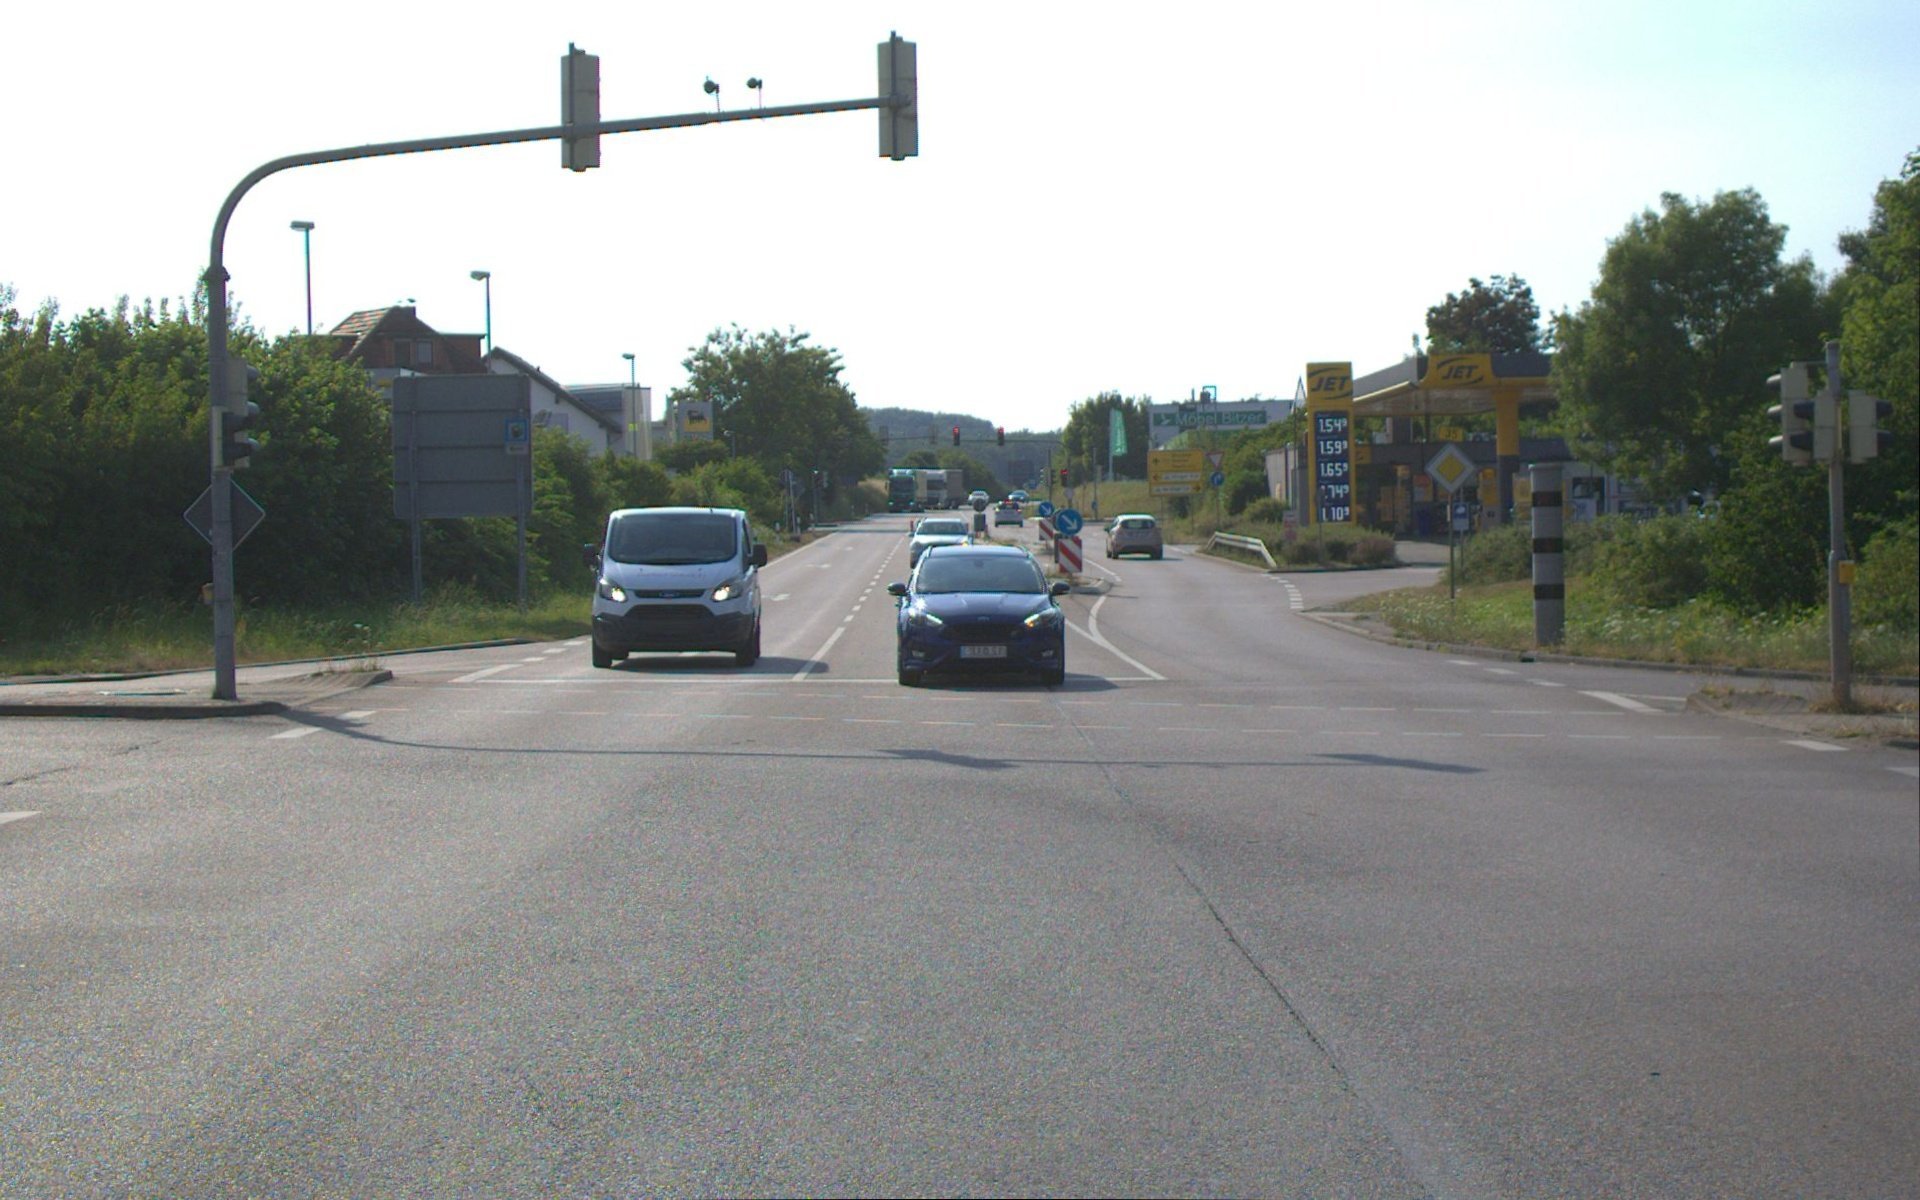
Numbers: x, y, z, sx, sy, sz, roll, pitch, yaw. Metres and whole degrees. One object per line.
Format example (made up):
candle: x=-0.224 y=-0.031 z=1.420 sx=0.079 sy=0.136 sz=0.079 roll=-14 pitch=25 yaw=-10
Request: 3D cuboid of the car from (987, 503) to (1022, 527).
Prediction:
car: x=2.634 y=-5.028 z=203.653 sx=1.740 sy=1.347 sz=3.204 roll=1 pitch=0 yaw=-4

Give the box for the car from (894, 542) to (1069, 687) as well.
car: x=0.294 y=0.139 z=38.121 sx=1.788 sy=1.492 sz=4.302 roll=1 pitch=0 yaw=2

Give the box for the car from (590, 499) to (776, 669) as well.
car: x=-3.423 y=-0.260 z=43.288 sx=1.900 sy=1.941 sz=4.819 roll=1 pitch=2 yaw=0

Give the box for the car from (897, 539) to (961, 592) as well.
car: x=-0.930 y=-1.024 z=102.648 sx=1.857 sy=1.508 sz=4.953 roll=1 pitch=0 yaw=-1

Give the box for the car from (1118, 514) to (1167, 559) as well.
car: x=6.098 y=-2.116 z=114.991 sx=1.550 sy=1.444 sz=3.050 roll=1 pitch=0 yaw=2

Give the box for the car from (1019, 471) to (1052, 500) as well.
car: x=5.540 y=-8.391 z=252.490 sx=1.993 sy=2.007 sz=4.001 roll=1 pitch=0 yaw=-4
